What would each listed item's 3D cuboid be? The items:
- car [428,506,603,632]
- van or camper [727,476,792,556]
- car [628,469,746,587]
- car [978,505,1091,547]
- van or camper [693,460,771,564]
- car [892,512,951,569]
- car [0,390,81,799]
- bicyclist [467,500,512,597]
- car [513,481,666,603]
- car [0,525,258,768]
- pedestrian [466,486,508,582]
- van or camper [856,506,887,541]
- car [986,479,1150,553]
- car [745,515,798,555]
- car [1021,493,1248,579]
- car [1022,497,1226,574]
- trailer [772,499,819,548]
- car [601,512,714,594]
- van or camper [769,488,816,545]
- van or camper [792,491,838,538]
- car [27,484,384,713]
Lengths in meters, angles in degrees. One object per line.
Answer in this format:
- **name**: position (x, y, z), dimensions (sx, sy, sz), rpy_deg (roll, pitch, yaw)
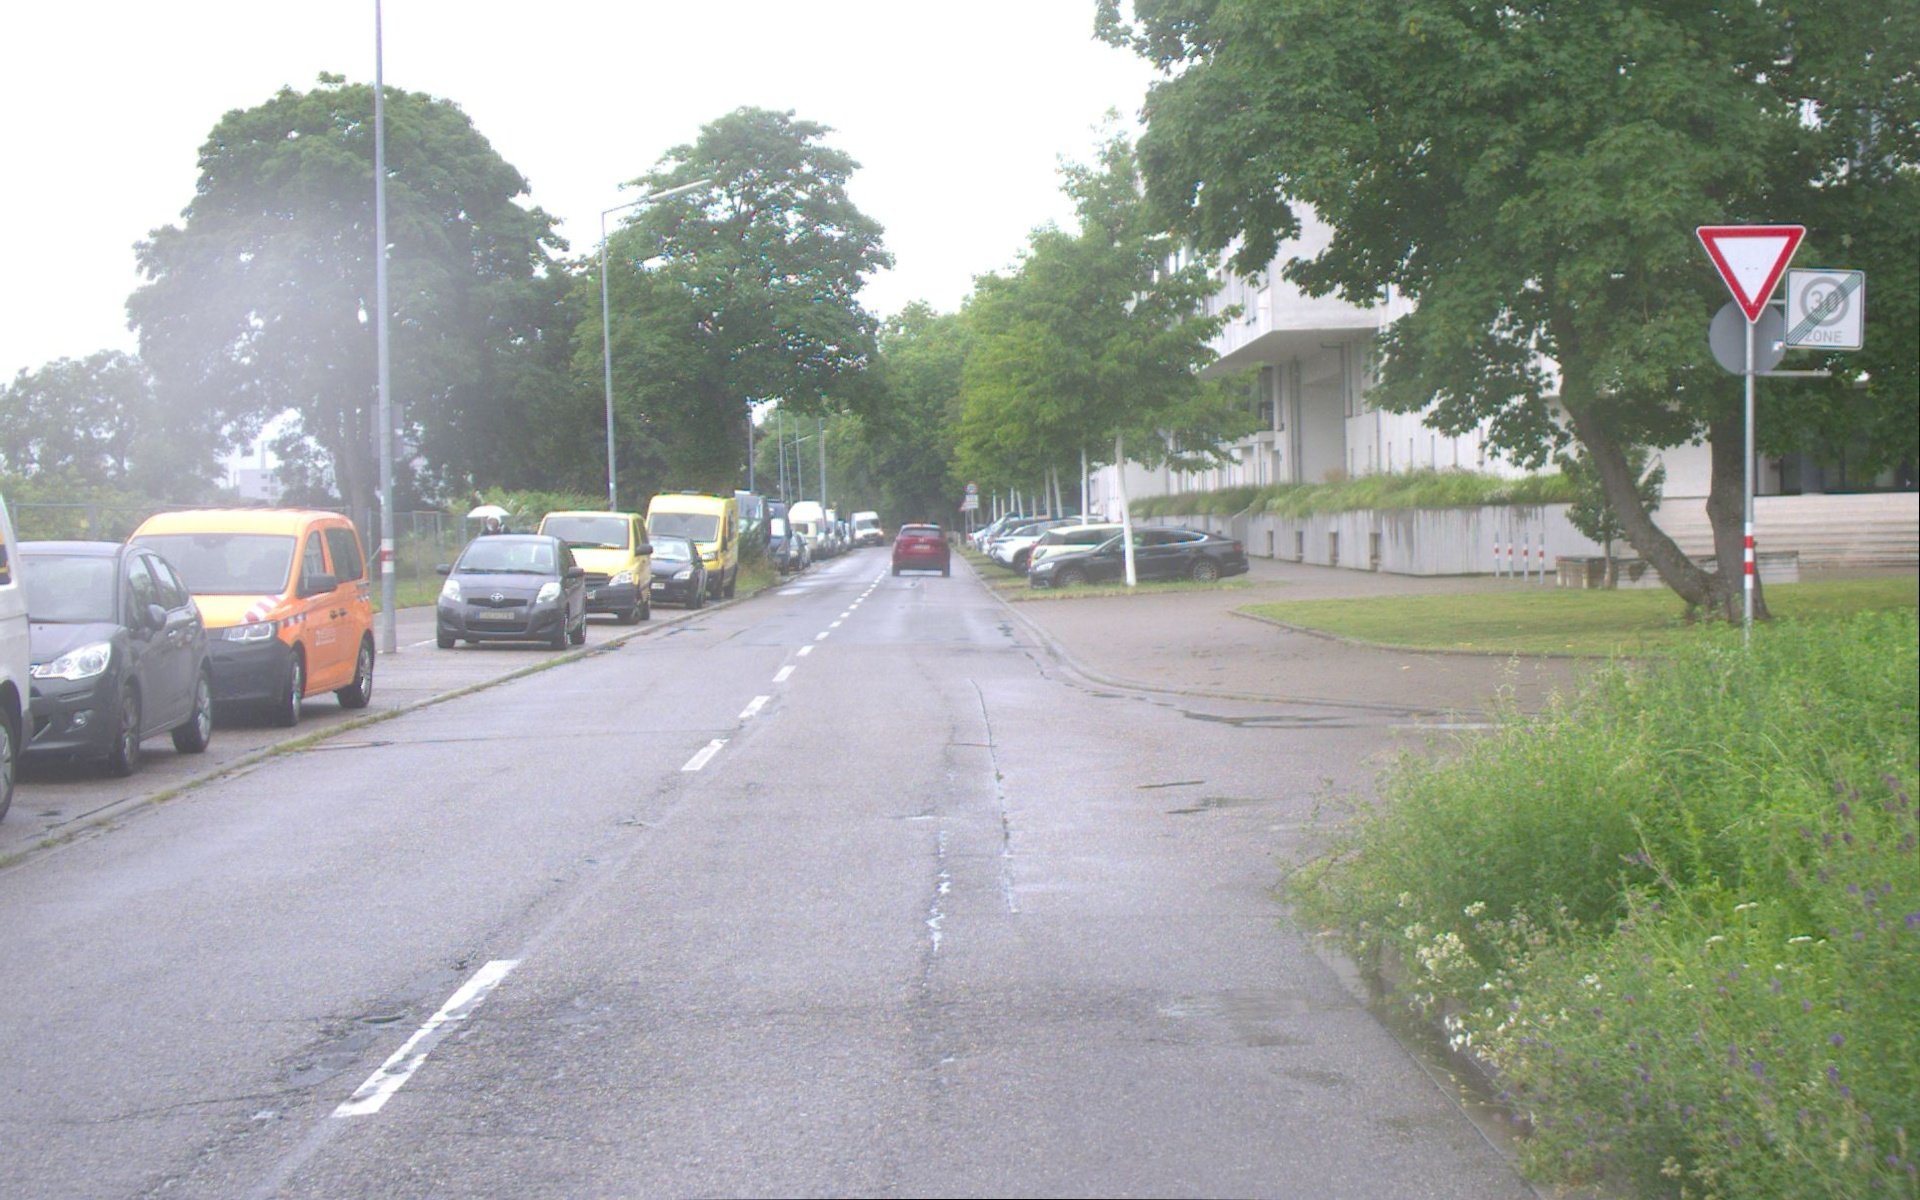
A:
- **car**: position (-5.916, -0.455, 46.118), dimensions (1.804, 1.556, 4.033), rpy_deg (2, 2, 0)
- **van or camper**: position (-7.093, -2.960, 122.480), dimensions (2.094, 2.706, 7.575), rpy_deg (1, 1, -2)
- **car**: position (-6.527, -1.743, 82.788), dimensions (2.192, 2.685, 6.081), rpy_deg (1, 1, 1)
- **car**: position (2.937, -2.907, 135.494), dimensions (4.298, 1.423, 1.637), rpy_deg (-3, 1, -2)
- **van or camper**: position (-7.085, -2.708, 107.344), dimensions (2.094, 3.083, 6.425), rpy_deg (1, 1, -2)
- **car**: position (-1.204, -1.914, 109.470), dimensions (1.756, 1.700, 4.000), rpy_deg (-1, 2, 1)
- **car**: position (-6.190, 0.014, 17.661), dimensions (1.942, 2.228, 5.558), rpy_deg (-1, 2, -1)
- **bicyclist**: position (-8.958, -0.985, 65.452), dimensions (0.698, 1.823, 1.008), rpy_deg (0, 2, 0)
- **car**: position (-6.285, -1.004, 58.954), dimensions (2.017, 1.949, 6.065), rpy_deg (1, 1, -1)
- **car**: position (-6.214, 0.246, 23.927), dimensions (1.683, 1.496, 4.892), rpy_deg (-1, 1, -1)
- **pedestrian**: position (-10.026, -1.400, 72.880), dimensions (0.742, 2.007, 0.980), rpy_deg (0, 1, 0)
- **van or camper**: position (-6.539, -5.693, 254.817), dimensions (1.993, 2.488, 7.178), rpy_deg (-2, 1, 0)
- **car**: position (3.170, -2.474, 101.267), dimensions (4.539, 1.679, 1.886), rpy_deg (-6, 1, -3)
- **car**: position (-7.404, -2.564, 135.365), dimensions (1.774, 1.497, 4.828), rpy_deg (1, 1, 0)
- **car**: position (3.633, -1.351, 72.231), dimensions (4.570, 1.492, 1.826), rpy_deg (-4, 1, -1)
- **car**: position (3.715, -1.474, 78.357), dimensions (4.487, 1.476, 1.692), rpy_deg (-4, 1, 0)
- **trailer**: position (-7.531, -3.519, 157.568), dimensions (2.058, 2.210, 5.795), rpy_deg (0, 1, -2)
- **car**: position (-6.226, -0.977, 71.257), dimensions (1.993, 1.588, 5.018), rpy_deg (1, 1, -2)
- **van or camper**: position (-8.331, -4.172, 171.745), dimensions (1.993, 2.752, 7.899), rpy_deg (0, 1, 0)
- **van or camper**: position (-7.756, -4.556, 184.118), dimensions (2.189, 2.453, 6.377), rpy_deg (0, 1, 0)
- **car**: position (-6.267, -0.063, 29.051), dimensions (1.940, 1.761, 4.331), rpy_deg (-1, 1, 1)
